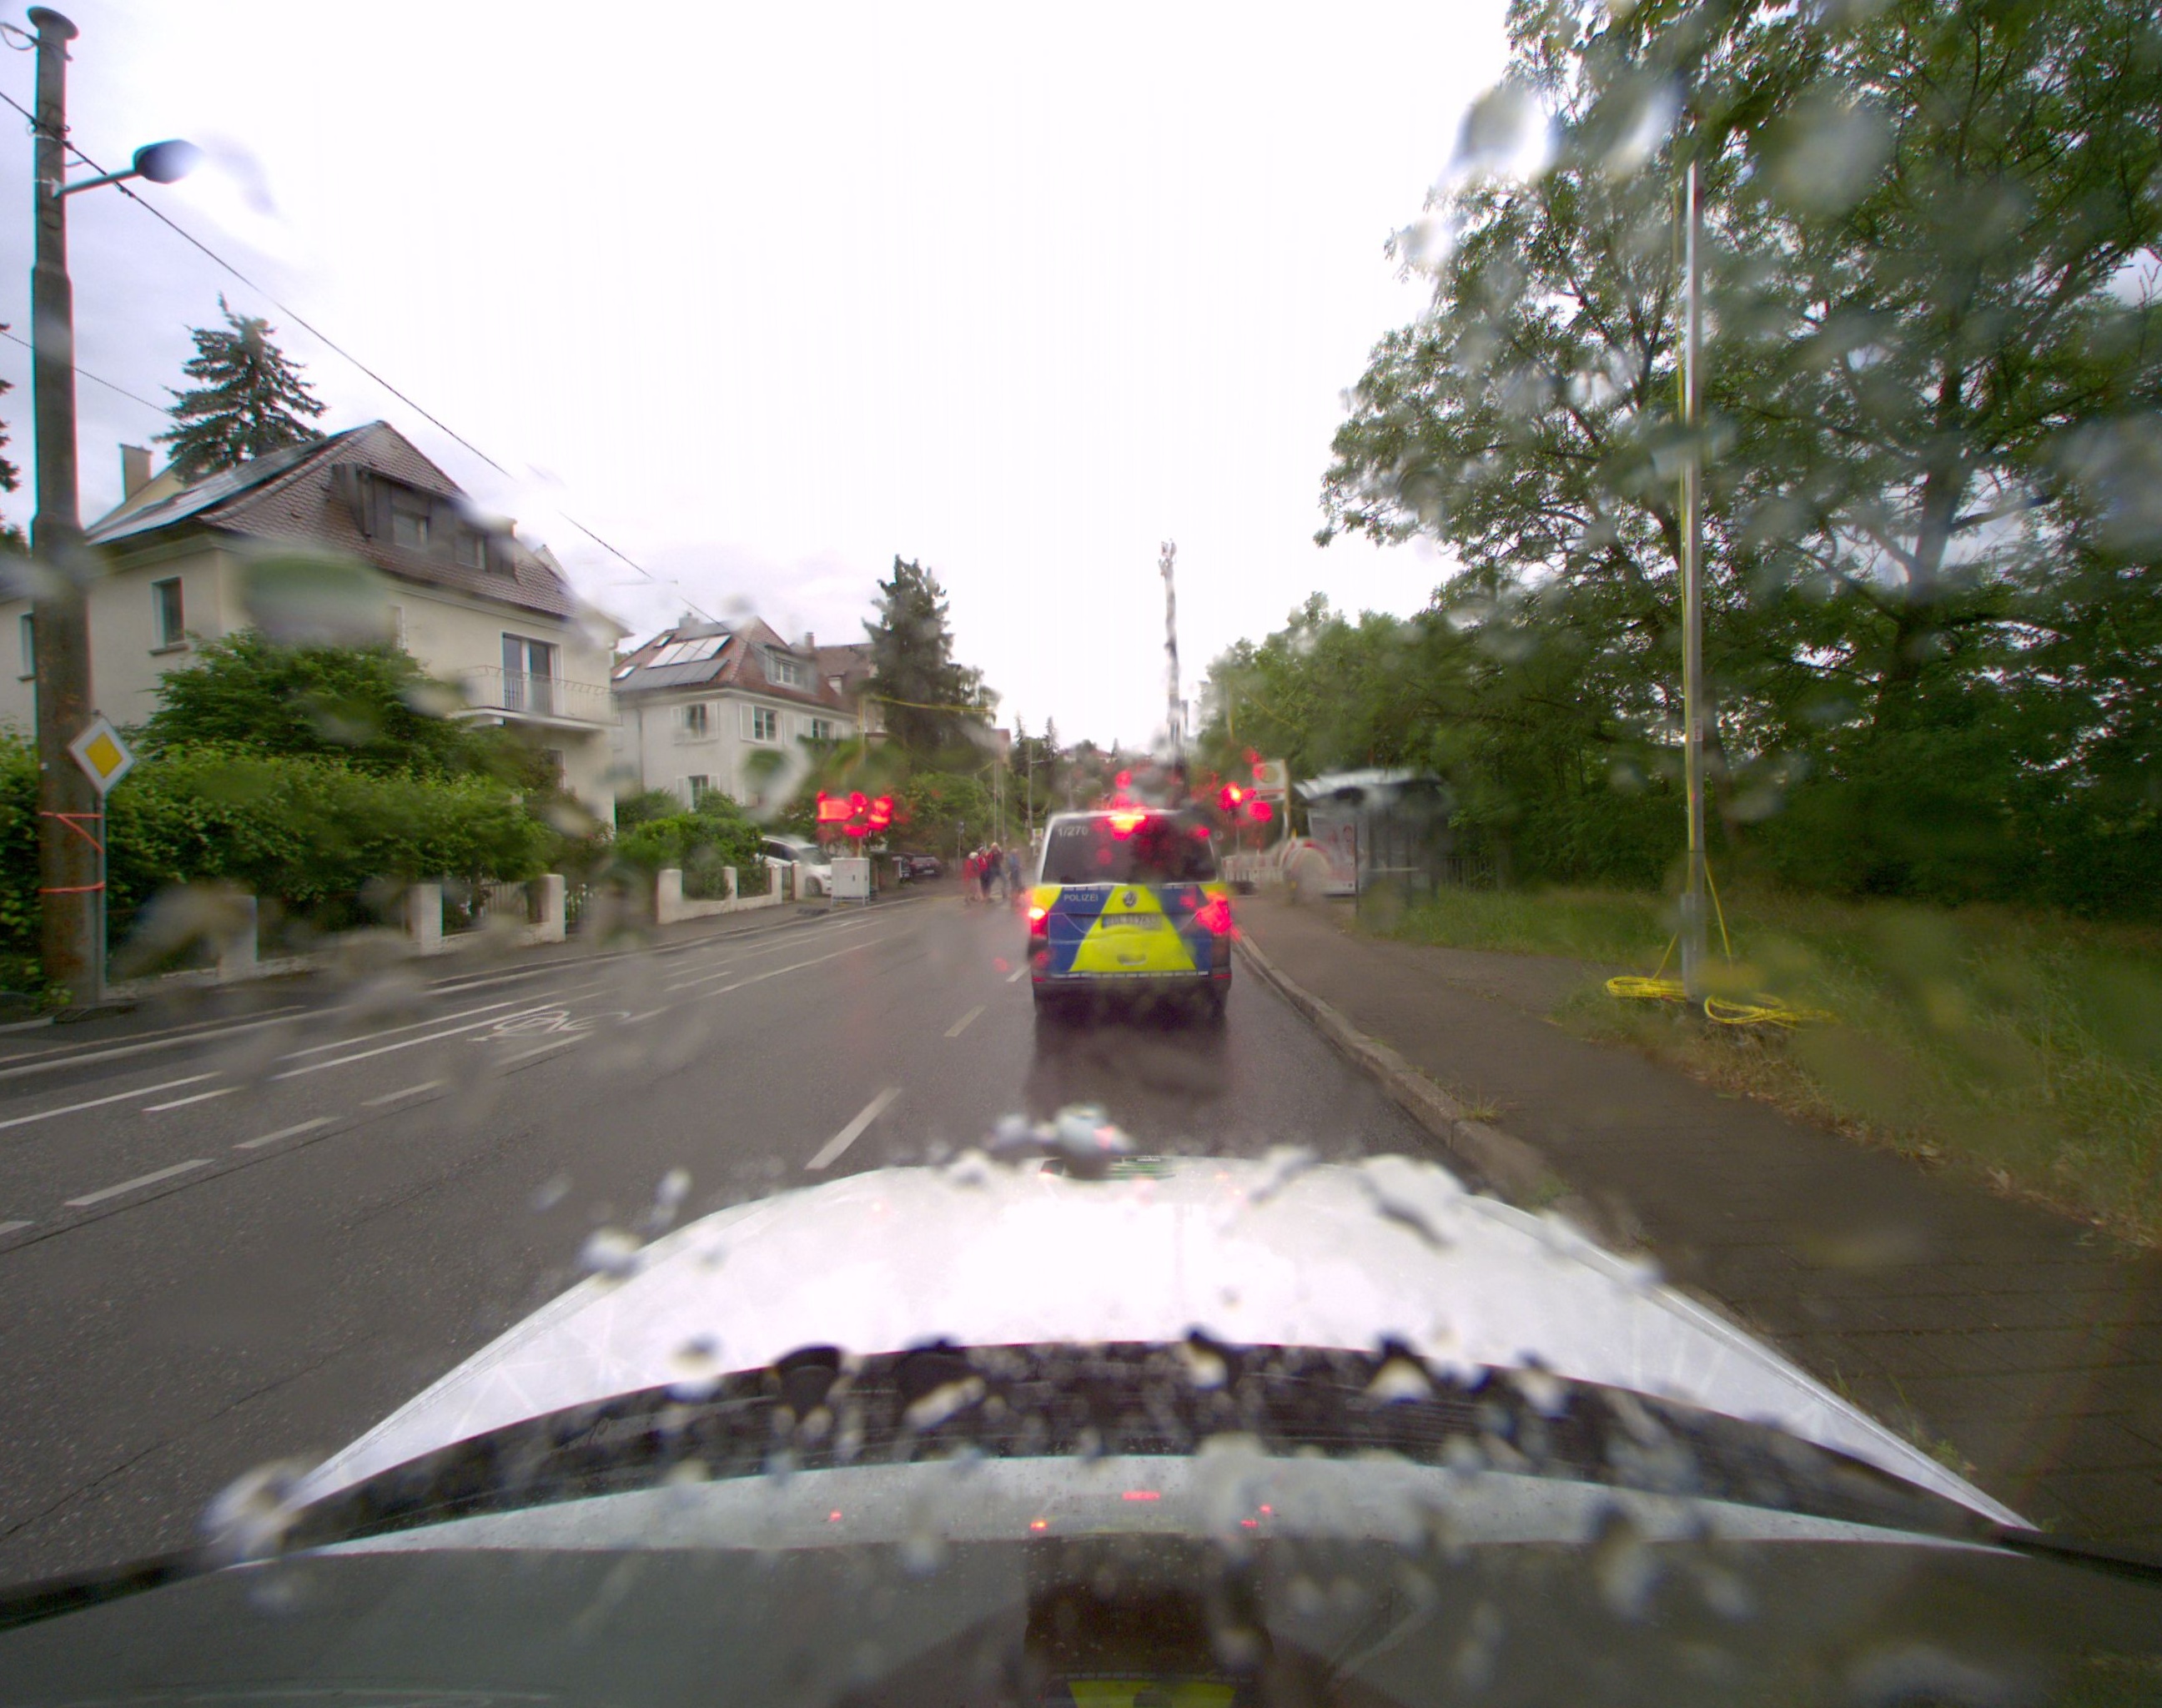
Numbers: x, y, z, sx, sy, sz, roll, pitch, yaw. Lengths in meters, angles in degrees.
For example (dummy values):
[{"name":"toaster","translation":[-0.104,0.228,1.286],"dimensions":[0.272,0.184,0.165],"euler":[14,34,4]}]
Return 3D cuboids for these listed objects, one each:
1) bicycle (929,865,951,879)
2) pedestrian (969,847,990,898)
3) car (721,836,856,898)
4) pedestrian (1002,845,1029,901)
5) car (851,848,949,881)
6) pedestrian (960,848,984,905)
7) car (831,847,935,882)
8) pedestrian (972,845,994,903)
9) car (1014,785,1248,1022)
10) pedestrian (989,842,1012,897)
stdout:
[{"name":"bicycle","translation":[-6.989,0.898,40.345],"dimensions":[1.046,0.662,0.321],"euler":[0,-2,12]},{"name":"pedestrian","translation":[-3.061,0.559,24.641],"dimensions":[0.523,1.507,0.429],"euler":[0,-2,3]},{"name":"car","translation":[-9.993,0.439,27.911],"dimensions":[3.959,2.013,1.837],"euler":[-1,0,13]},{"name":"pedestrian","translation":[-1.794,0.522,22.375],"dimensions":[0.623,1.522,0.593],"euler":[0,-2,4]},{"name":"car","translation":[-8.294,0.500,37.473],"dimensions":[3.960,1.486,1.765],"euler":[0,-2,12]},{"name":"pedestrian","translation":[-3.058,0.620,22.922],"dimensions":[0.560,1.582,0.468],"euler":[0,-2,3]},{"name":"car","translation":[-8.548,0.476,35.329],"dimensions":[3.960,1.486,1.765],"euler":[0,-2,12]},{"name":"pedestrian","translation":[-2.849,0.571,23.607],"dimensions":[0.546,1.668,0.414],"euler":[0,-2,3]},{"name":"car","translation":[0.515,0.425,9.189],"dimensions":[1.986,2.013,4.404],"euler":[-1,0,2]},{"name":"pedestrian","translation":[-2.513,0.485,25.441],"dimensions":[0.623,1.715,0.593],"euler":[0,-2,4]}]
